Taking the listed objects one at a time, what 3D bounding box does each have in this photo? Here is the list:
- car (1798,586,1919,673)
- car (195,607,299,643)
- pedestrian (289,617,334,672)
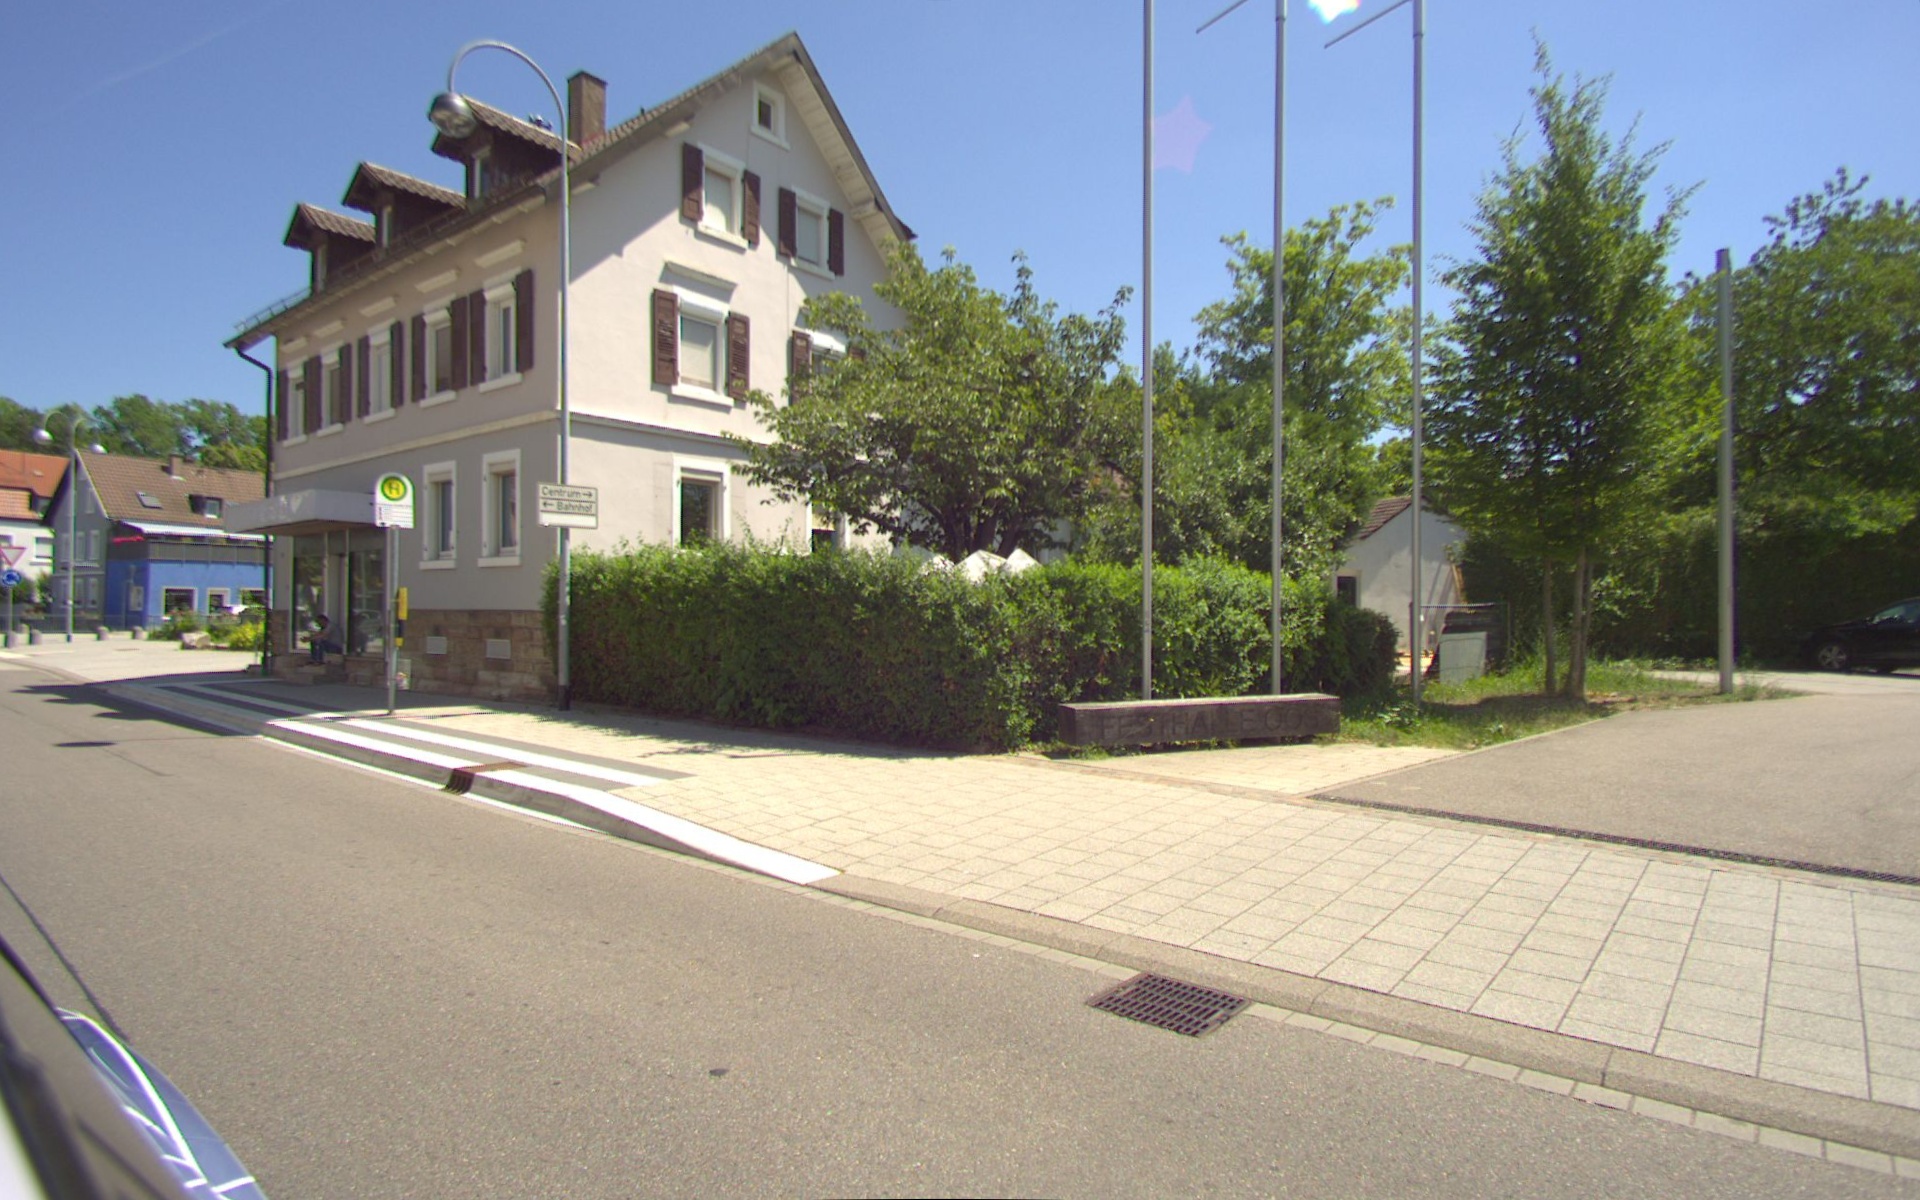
[{"bbox_3d":[17.281,0.501,17.629,1.662,1.503,3.779,0,-1,-23],"label":"car"},{"bbox_3d":[-35.992,1.299,51.193,1.805,1.620,3.886,2,-2,23],"label":"car"},{"bbox_3d":[-12.883,0.876,20.108,0.566,1.067,0.591,-1,-1,36],"label":"pedestrian"}]
